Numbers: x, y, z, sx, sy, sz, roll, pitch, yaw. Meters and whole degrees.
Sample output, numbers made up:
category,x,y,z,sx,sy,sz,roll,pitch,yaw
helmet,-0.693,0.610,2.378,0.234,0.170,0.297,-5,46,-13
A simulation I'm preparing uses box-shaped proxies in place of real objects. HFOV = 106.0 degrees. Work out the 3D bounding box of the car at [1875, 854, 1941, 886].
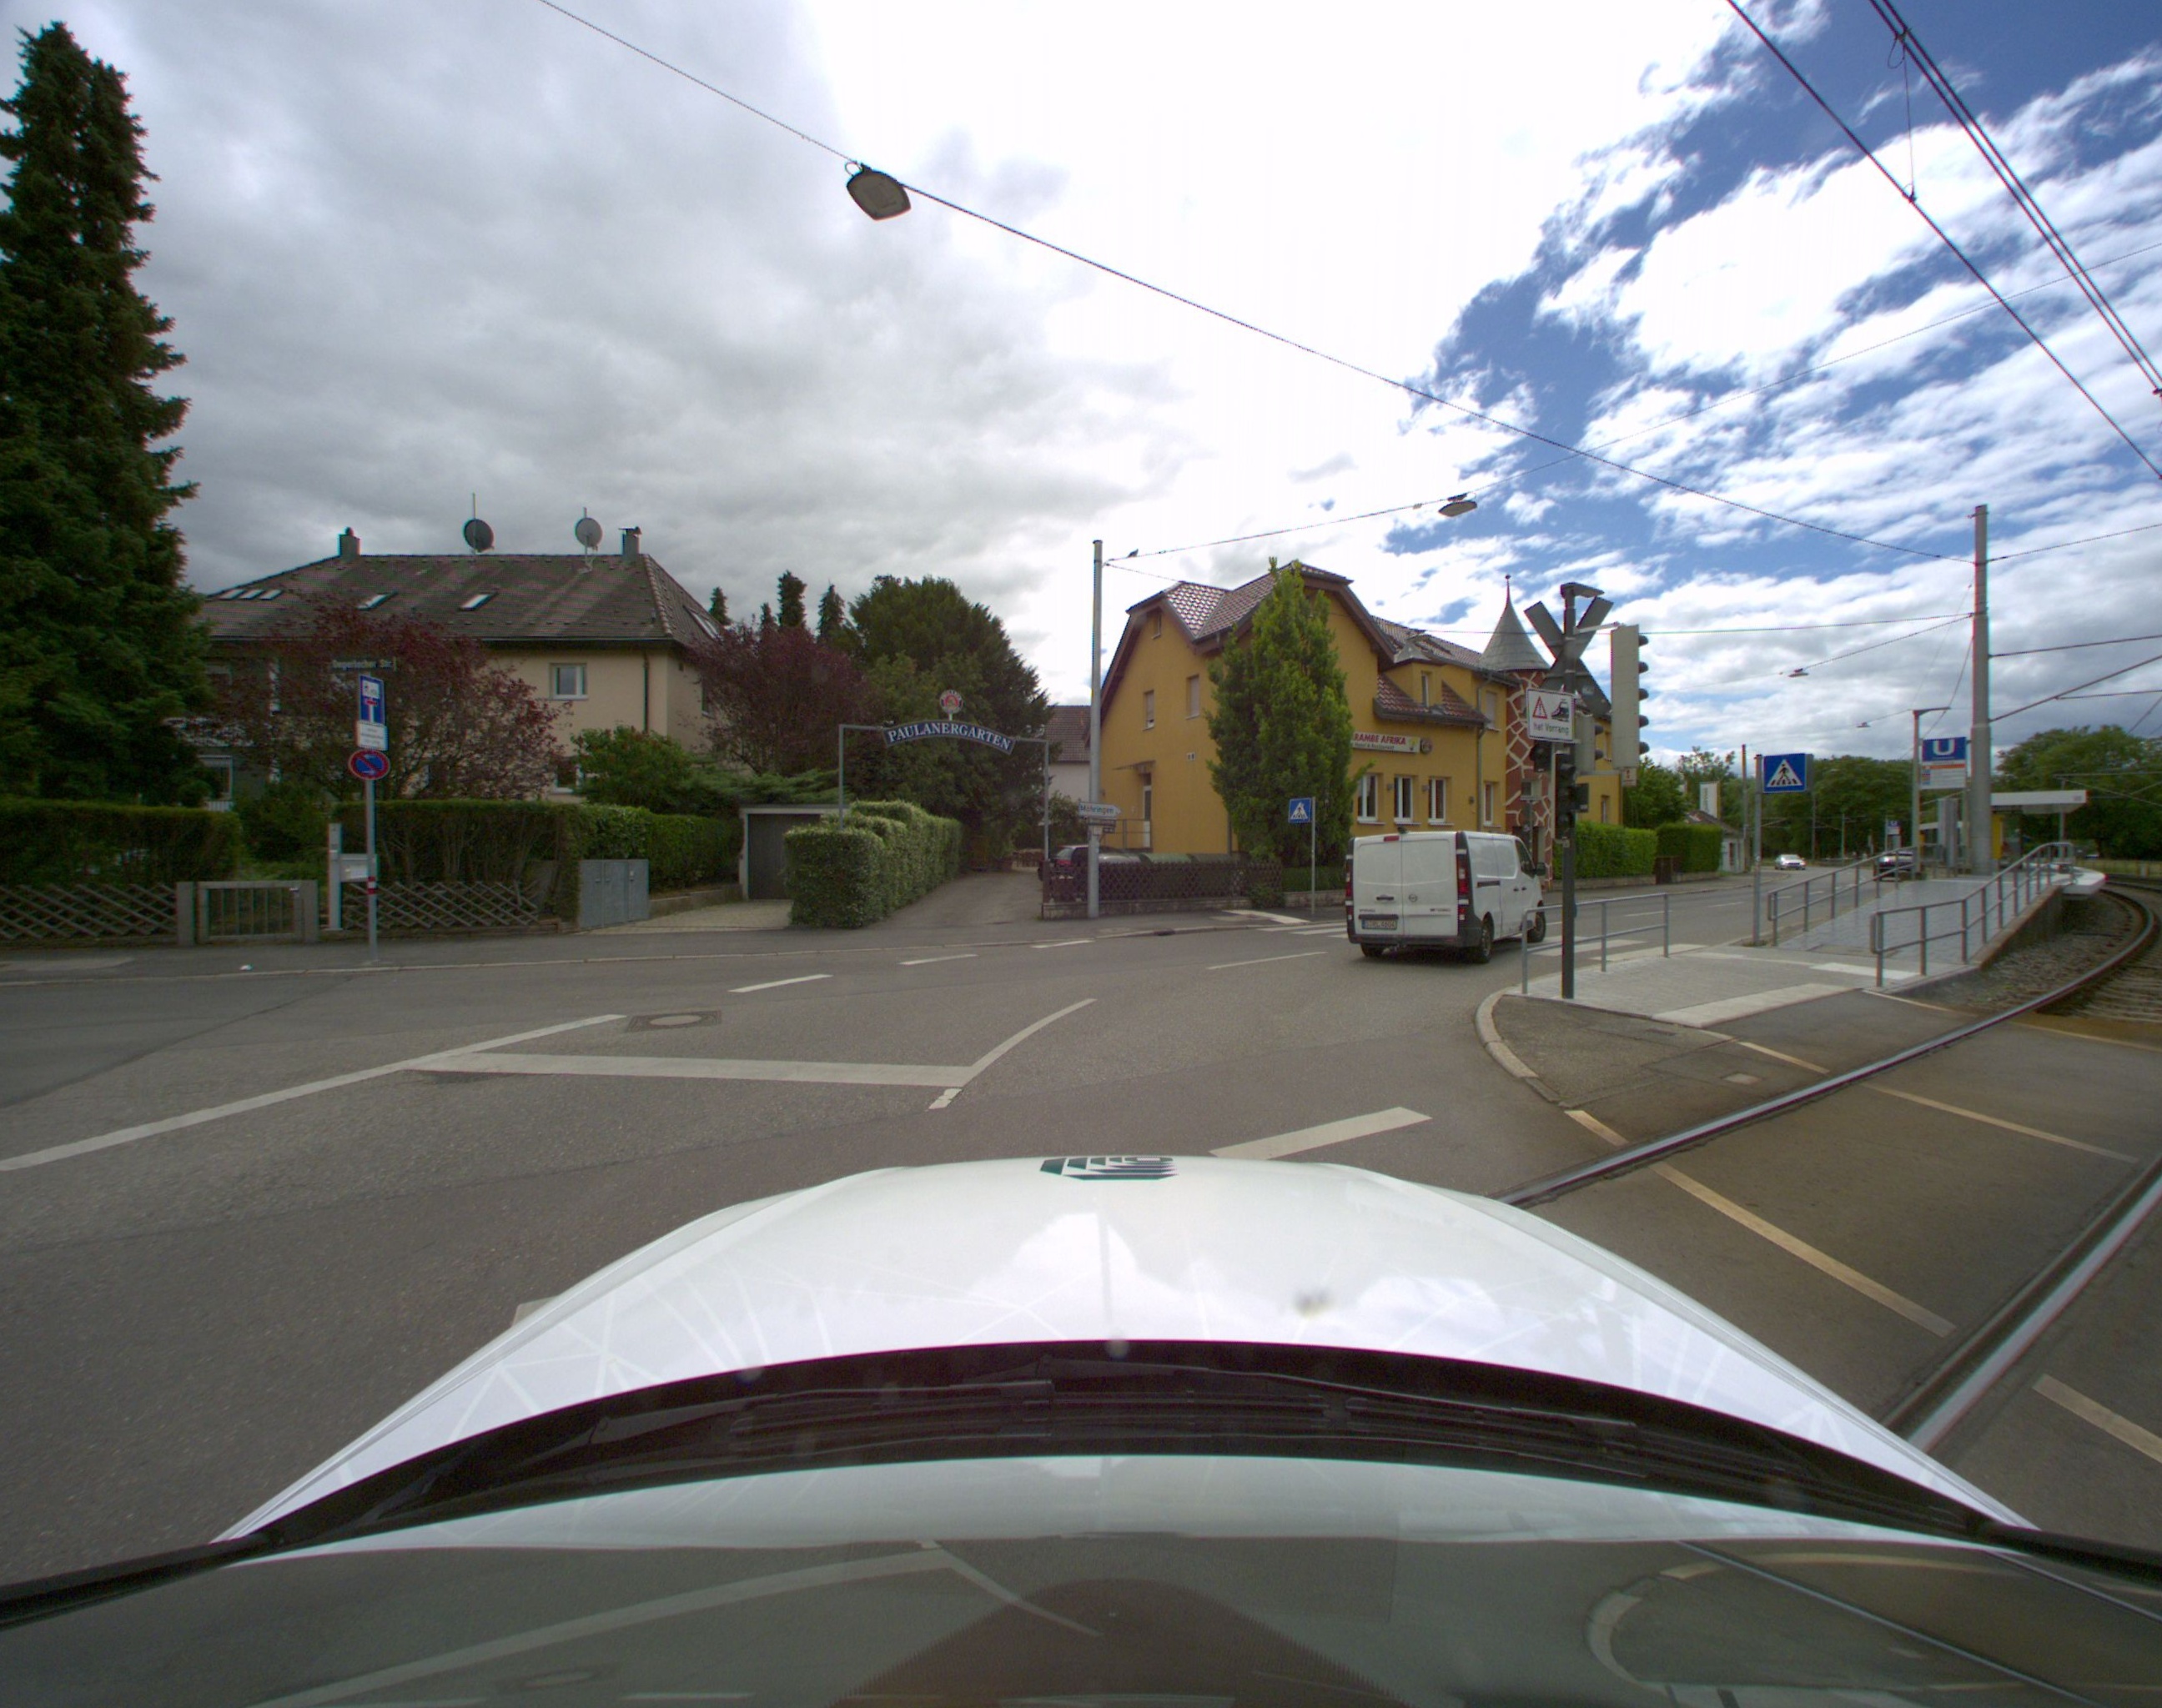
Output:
category,x,y,z,sx,sy,sz,roll,pitch,yaw
car,44.488,0.836,43.789,4.396,1.564,2.335,1,1,-43

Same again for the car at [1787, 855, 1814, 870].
category,x,y,z,sx,sy,sz,roll,pitch,yaw
car,68.569,0.800,77.689,1.801,1.419,4.491,-3,-2,40

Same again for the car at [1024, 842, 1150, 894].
category,x,y,z,sx,sy,sz,roll,pitch,yaw
car,0.213,0.401,26.112,3.693,1.427,1.710,-2,4,-33

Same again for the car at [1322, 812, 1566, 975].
category,x,y,z,sx,sy,sz,roll,pitch,yaw
car,6.180,0.484,13.428,2.097,2.134,5.474,1,1,42
